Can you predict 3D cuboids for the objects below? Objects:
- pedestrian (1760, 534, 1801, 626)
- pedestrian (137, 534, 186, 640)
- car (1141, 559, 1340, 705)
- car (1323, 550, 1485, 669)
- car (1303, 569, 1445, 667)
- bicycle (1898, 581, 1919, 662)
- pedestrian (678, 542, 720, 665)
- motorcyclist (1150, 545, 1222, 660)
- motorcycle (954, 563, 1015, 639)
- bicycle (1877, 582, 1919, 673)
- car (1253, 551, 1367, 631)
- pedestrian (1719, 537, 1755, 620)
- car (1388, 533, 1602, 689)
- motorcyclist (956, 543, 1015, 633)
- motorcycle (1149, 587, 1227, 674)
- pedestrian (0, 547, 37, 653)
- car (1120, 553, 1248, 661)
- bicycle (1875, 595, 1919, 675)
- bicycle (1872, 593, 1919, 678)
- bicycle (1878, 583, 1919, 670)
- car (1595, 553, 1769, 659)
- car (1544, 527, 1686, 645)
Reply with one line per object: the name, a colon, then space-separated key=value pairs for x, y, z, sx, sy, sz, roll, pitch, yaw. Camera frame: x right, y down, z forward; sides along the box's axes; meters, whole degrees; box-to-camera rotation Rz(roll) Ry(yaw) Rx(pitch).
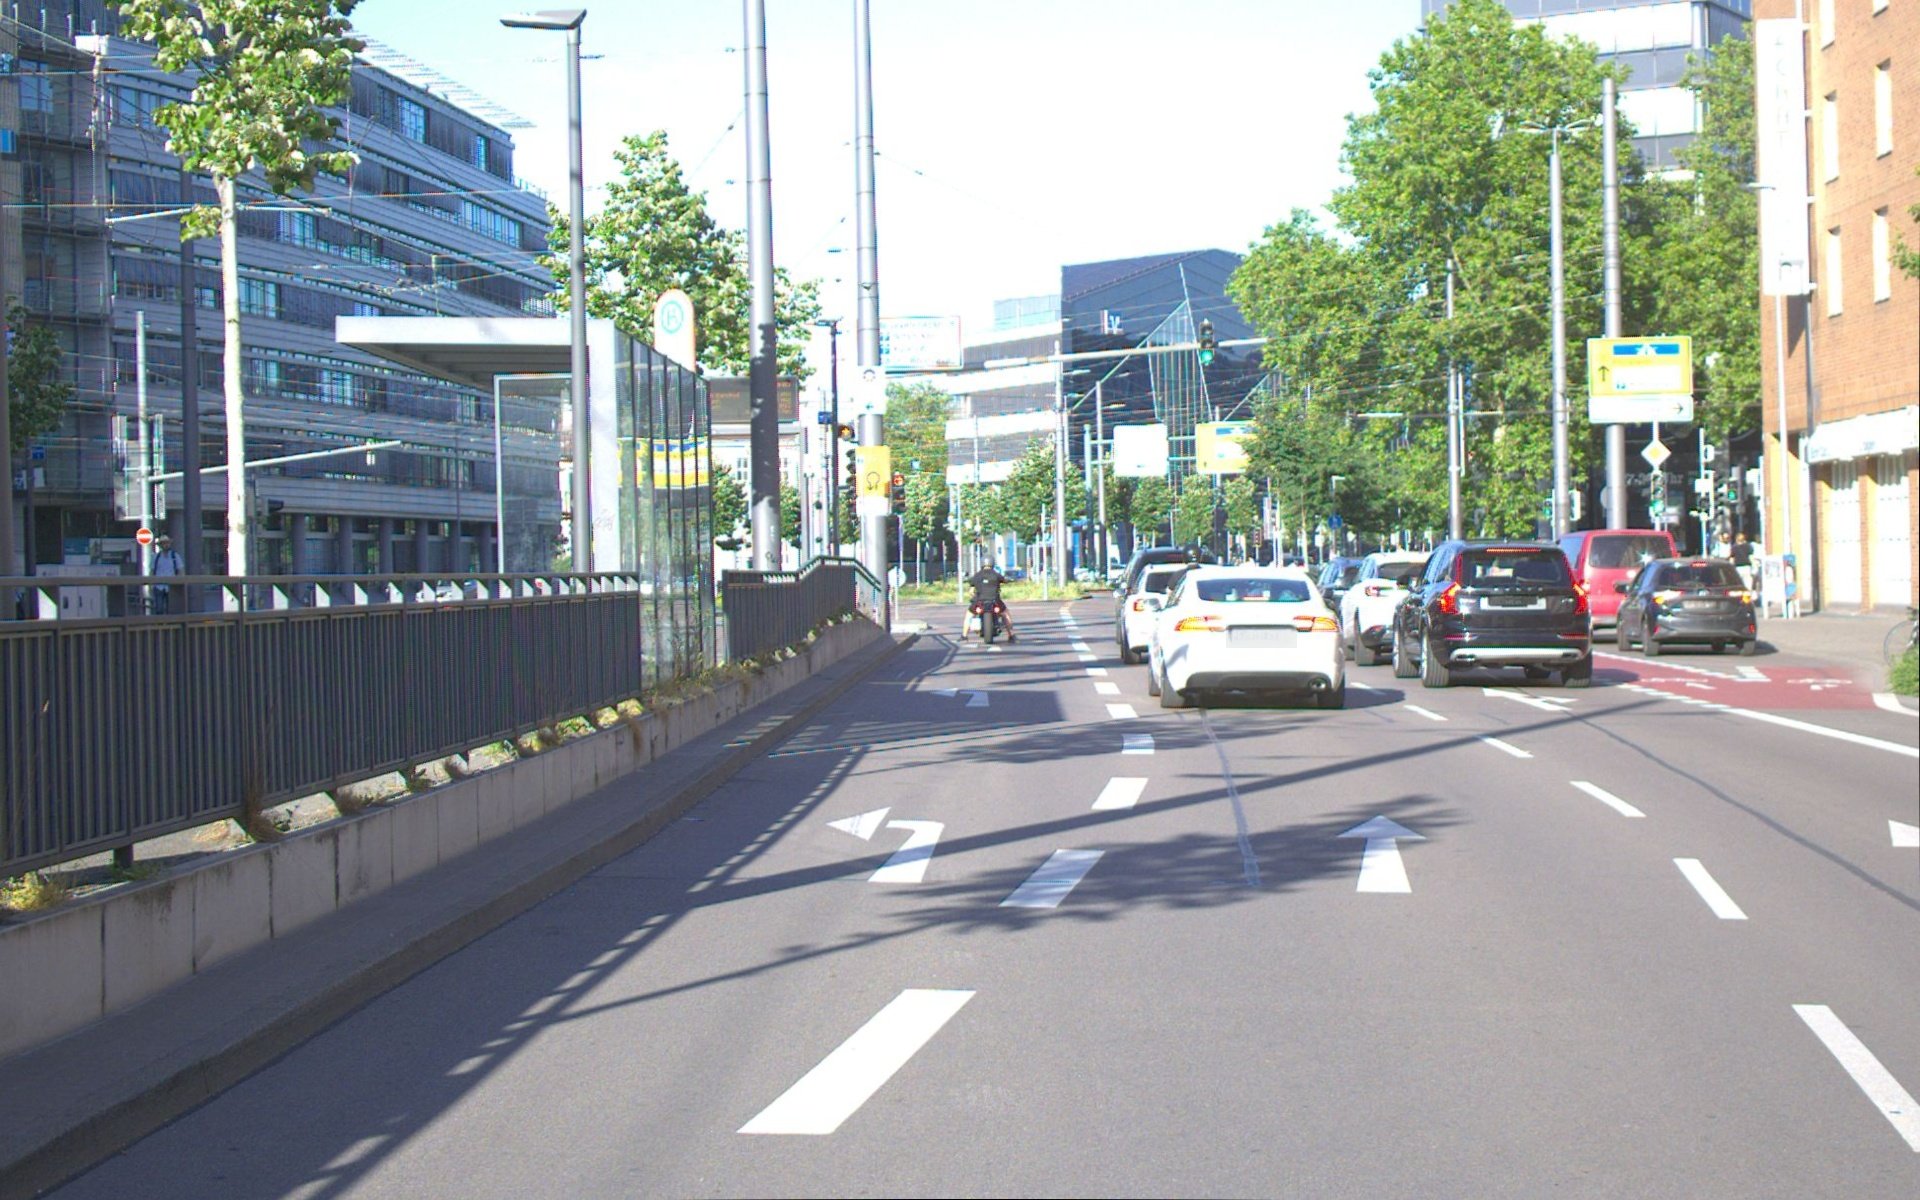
pedestrian: x=16.321 y=-0.393 z=68.373 sx=0.606 sy=1.815 sz=0.748 roll=-1 pitch=0 yaw=1
pedestrian: x=-13.741 y=-0.233 z=59.178 sx=0.614 sy=1.811 sz=0.897 roll=0 pitch=1 yaw=2
car: x=2.898 y=0.283 z=36.322 sx=1.780 sy=1.409 sz=4.818 roll=1 pitch=1 yaw=1
car: x=6.334 y=0.133 z=49.473 sx=1.851 sy=1.634 sz=4.378 roll=0 pitch=0 yaw=1
car: x=6.681 y=0.258 z=55.828 sx=1.851 sy=1.492 sz=4.379 roll=0 pitch=1 yaw=1
bicycle: x=13.609 y=0.254 z=46.090 sx=1.946 sy=1.071 sz=0.625 roll=-2 pitch=0 yaw=13
pedestrian: x=-3.553 y=0.043 z=46.805 sx=0.519 sy=1.663 sz=0.550 roll=0 pitch=1 yaw=2
motorcyclist: x=2.951 y=0.019 z=44.981 sx=0.837 sy=1.470 sz=1.236 roll=-1 pitch=1 yaw=0
motorcycle: x=0.462 y=0.003 z=61.990 sx=1.019 sy=1.307 sz=2.914 roll=1 pitch=1 yaw=2
bicycle: x=12.702 y=0.327 z=43.734 sx=1.946 sy=1.133 sz=0.490 roll=-2 pitch=0 yaw=12
car: x=6.770 y=-0.205 z=66.846 sx=1.851 sy=1.492 sz=4.379 roll=0 pitch=1 yaw=1
pedestrian: x=17.116 y=-0.472 z=75.723 sx=0.606 sy=1.815 sz=0.748 roll=-1 pitch=0 yaw=1
car: x=6.426 y=0.100 z=41.746 sx=1.975 sy=1.753 sz=4.632 roll=1 pitch=1 yaw=2
motorcyclist: x=0.461 y=-0.216 z=62.051 sx=1.019 sy=1.598 sz=1.148 roll=1 pitch=1 yaw=2
motorcycle: x=2.968 y=0.383 z=45.021 sx=0.837 sy=1.058 sz=2.552 roll=-1 pitch=1 yaw=0
pedestrian: x=-14.396 y=-0.007 z=52.243 sx=0.563 sy=1.603 sz=0.616 roll=0 pitch=1 yaw=2
car: x=3.241 y=0.074 z=50.328 sx=1.693 sy=1.491 sz=4.409 roll=1 pitch=1 yaw=2
bicycle: x=12.352 y=0.405 z=42.515 sx=1.947 sy=0.966 sz=0.554 roll=-2 pitch=0 yaw=19
bicycle: x=12.179 y=0.417 z=42.005 sx=1.947 sy=1.019 sz=0.501 roll=-2 pitch=0 yaw=19
bicycle: x=12.584 y=0.309 z=43.217 sx=1.946 sy=1.071 sz=0.554 roll=-2 pitch=0 yaw=12
car: x=11.254 y=0.059 z=53.844 sx=1.847 sy=1.555 sz=4.632 roll=1 pitch=1 yaw=2
car: x=11.460 y=-0.262 z=60.375 sx=1.860 sy=1.954 sz=4.000 roll=-1 pitch=1 yaw=3
